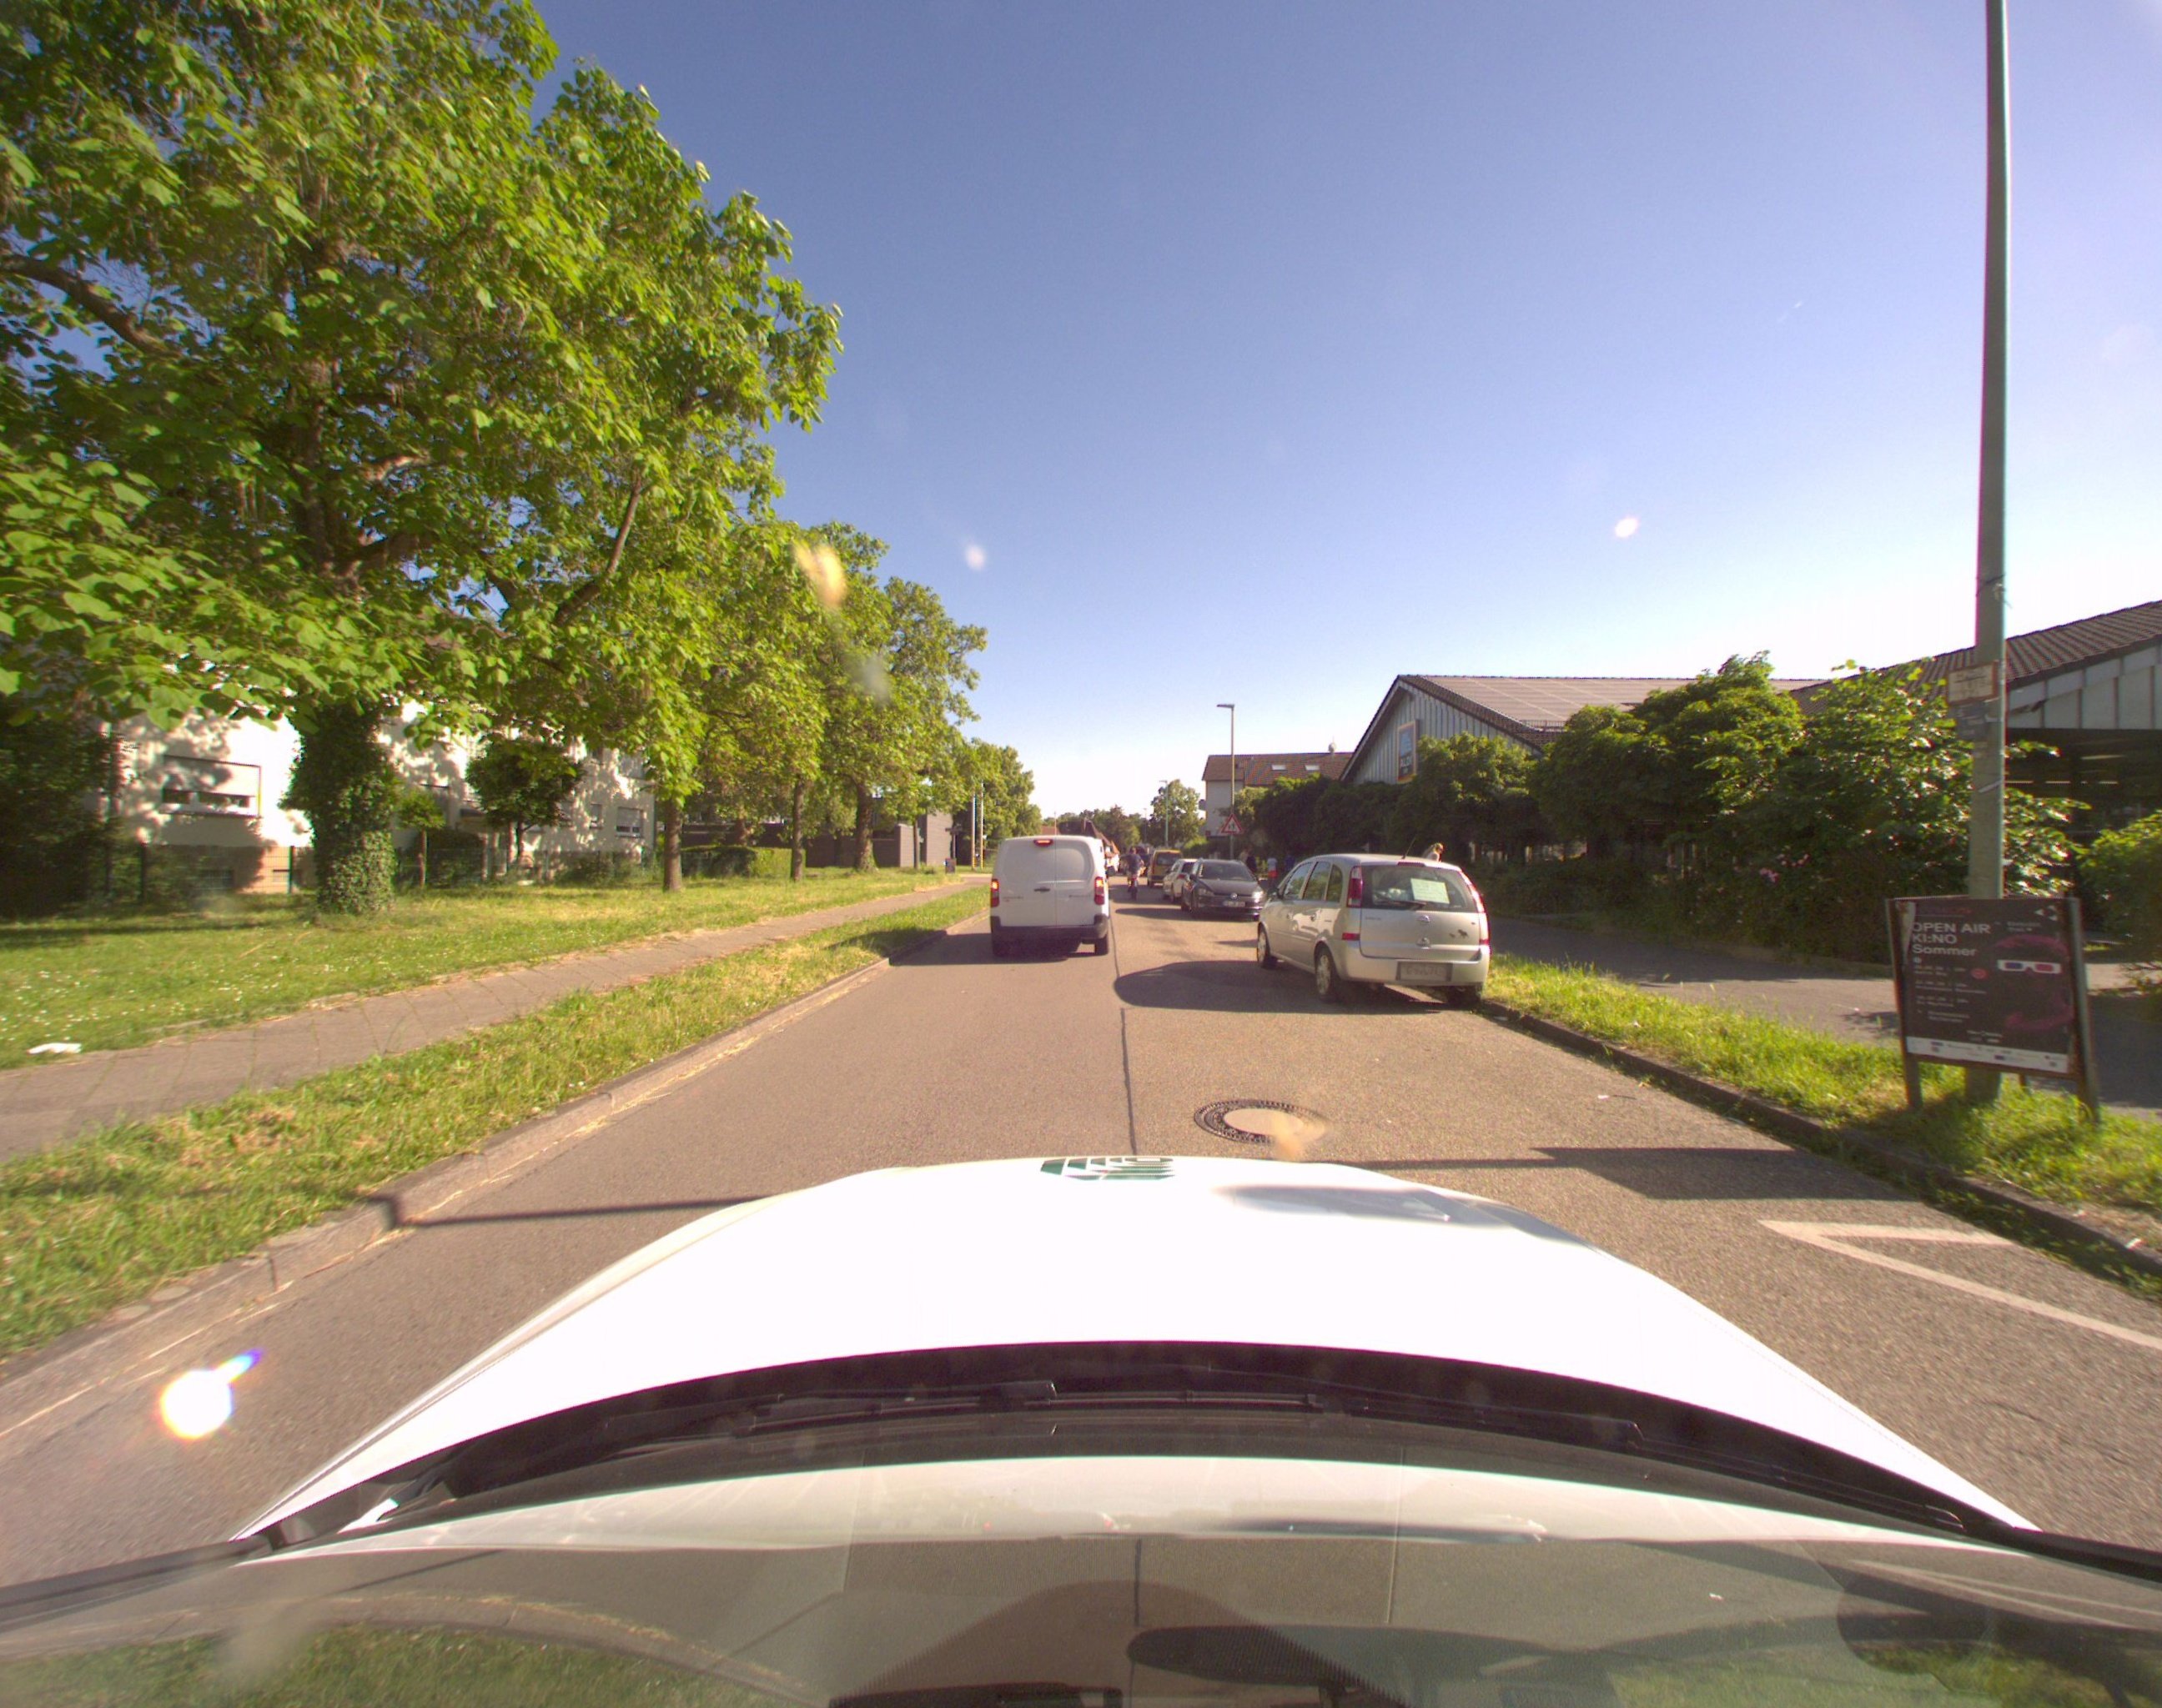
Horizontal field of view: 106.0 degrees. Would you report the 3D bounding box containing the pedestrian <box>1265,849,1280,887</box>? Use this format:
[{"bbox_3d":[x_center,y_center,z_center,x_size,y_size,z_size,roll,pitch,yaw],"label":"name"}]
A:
[{"bbox_3d":[8.343,0.591,35.415,0.564,1.637,0.547,0,0,6],"label":"pedestrian"}]

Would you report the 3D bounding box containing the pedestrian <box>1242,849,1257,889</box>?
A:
[{"bbox_3d":[6.904,0.614,33.368,0.564,1.637,0.547,0,0,6],"label":"pedestrian"}]

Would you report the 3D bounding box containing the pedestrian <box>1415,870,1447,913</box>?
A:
[{"bbox_3d":[8.445,0.893,19.691,0.529,0.980,0.812,1,0,9],"label":"pedestrian"}]

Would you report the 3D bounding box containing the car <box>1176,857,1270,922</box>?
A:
[{"bbox_3d":[3.553,0.835,21.098,1.800,1.443,4.365,1,0,2],"label":"car"}]

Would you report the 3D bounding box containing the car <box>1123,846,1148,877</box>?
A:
[{"bbox_3d":[4.818,0.695,72.735,1.860,2.562,4.766,2,-1,0],"label":"car"}]

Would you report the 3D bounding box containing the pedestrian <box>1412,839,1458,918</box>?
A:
[{"bbox_3d":[8.185,0.553,18.859,0.793,1.782,0.811,0,0,9],"label":"pedestrian"}]

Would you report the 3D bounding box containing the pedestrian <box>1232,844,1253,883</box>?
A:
[{"bbox_3d":[7.918,0.462,39.907,0.793,1.861,0.872,1,-1,-6],"label":"pedestrian"}]

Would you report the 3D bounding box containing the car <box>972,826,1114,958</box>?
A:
[{"bbox_3d":[-0.462,0.533,13.802,1.985,1.882,4.292,0,0,3],"label":"car"}]

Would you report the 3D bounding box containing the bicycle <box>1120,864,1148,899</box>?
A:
[{"bbox_3d":[1.803,0.923,27.964,0.784,1.138,2.279,0,0,-1],"label":"bicycle"}]

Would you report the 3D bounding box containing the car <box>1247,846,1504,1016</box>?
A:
[{"bbox_3d":[3.343,0.784,10.111,1.674,1.599,4.027,3,-1,0],"label":"car"}]

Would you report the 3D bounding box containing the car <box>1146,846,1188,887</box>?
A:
[{"bbox_3d":[4.055,0.592,38.852,1.717,1.837,4.002,1,0,2],"label":"car"}]

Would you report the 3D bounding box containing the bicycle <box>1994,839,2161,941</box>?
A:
[{"bbox_3d":[13.185,0.442,10.684,0.563,1.243,1.524,0,0,-25],"label":"bicycle"}]

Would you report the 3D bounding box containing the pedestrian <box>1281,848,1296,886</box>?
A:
[{"bbox_3d":[8.998,0.552,35.276,0.564,1.637,0.547,0,0,6],"label":"pedestrian"}]

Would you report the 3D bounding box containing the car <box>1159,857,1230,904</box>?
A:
[{"bbox_3d":[3.703,0.834,27.281,1.820,1.452,3.999,1,0,0],"label":"car"}]

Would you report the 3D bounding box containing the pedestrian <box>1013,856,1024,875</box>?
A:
[{"bbox_3d":[-5.004,0.937,65.692,0.505,1.446,0.643,3,0,34],"label":"pedestrian"}]

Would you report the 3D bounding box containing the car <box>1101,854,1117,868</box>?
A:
[{"bbox_3d":[3.847,0.970,112.482,1.795,1.842,4.006,2,-1,6],"label":"car"}]

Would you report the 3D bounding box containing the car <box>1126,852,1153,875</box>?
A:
[{"bbox_3d":[4.663,0.778,65.531,1.798,1.785,3.999,2,-1,0],"label":"car"}]

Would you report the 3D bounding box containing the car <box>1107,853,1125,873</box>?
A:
[{"bbox_3d":[3.922,1.050,92.117,1.798,2.069,3.999,2,-1,0],"label":"car"}]

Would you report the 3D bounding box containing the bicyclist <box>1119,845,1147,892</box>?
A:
[{"bbox_3d":[1.793,0.504,28.083,0.902,1.584,0.966,1,-1,0],"label":"bicyclist"}]
